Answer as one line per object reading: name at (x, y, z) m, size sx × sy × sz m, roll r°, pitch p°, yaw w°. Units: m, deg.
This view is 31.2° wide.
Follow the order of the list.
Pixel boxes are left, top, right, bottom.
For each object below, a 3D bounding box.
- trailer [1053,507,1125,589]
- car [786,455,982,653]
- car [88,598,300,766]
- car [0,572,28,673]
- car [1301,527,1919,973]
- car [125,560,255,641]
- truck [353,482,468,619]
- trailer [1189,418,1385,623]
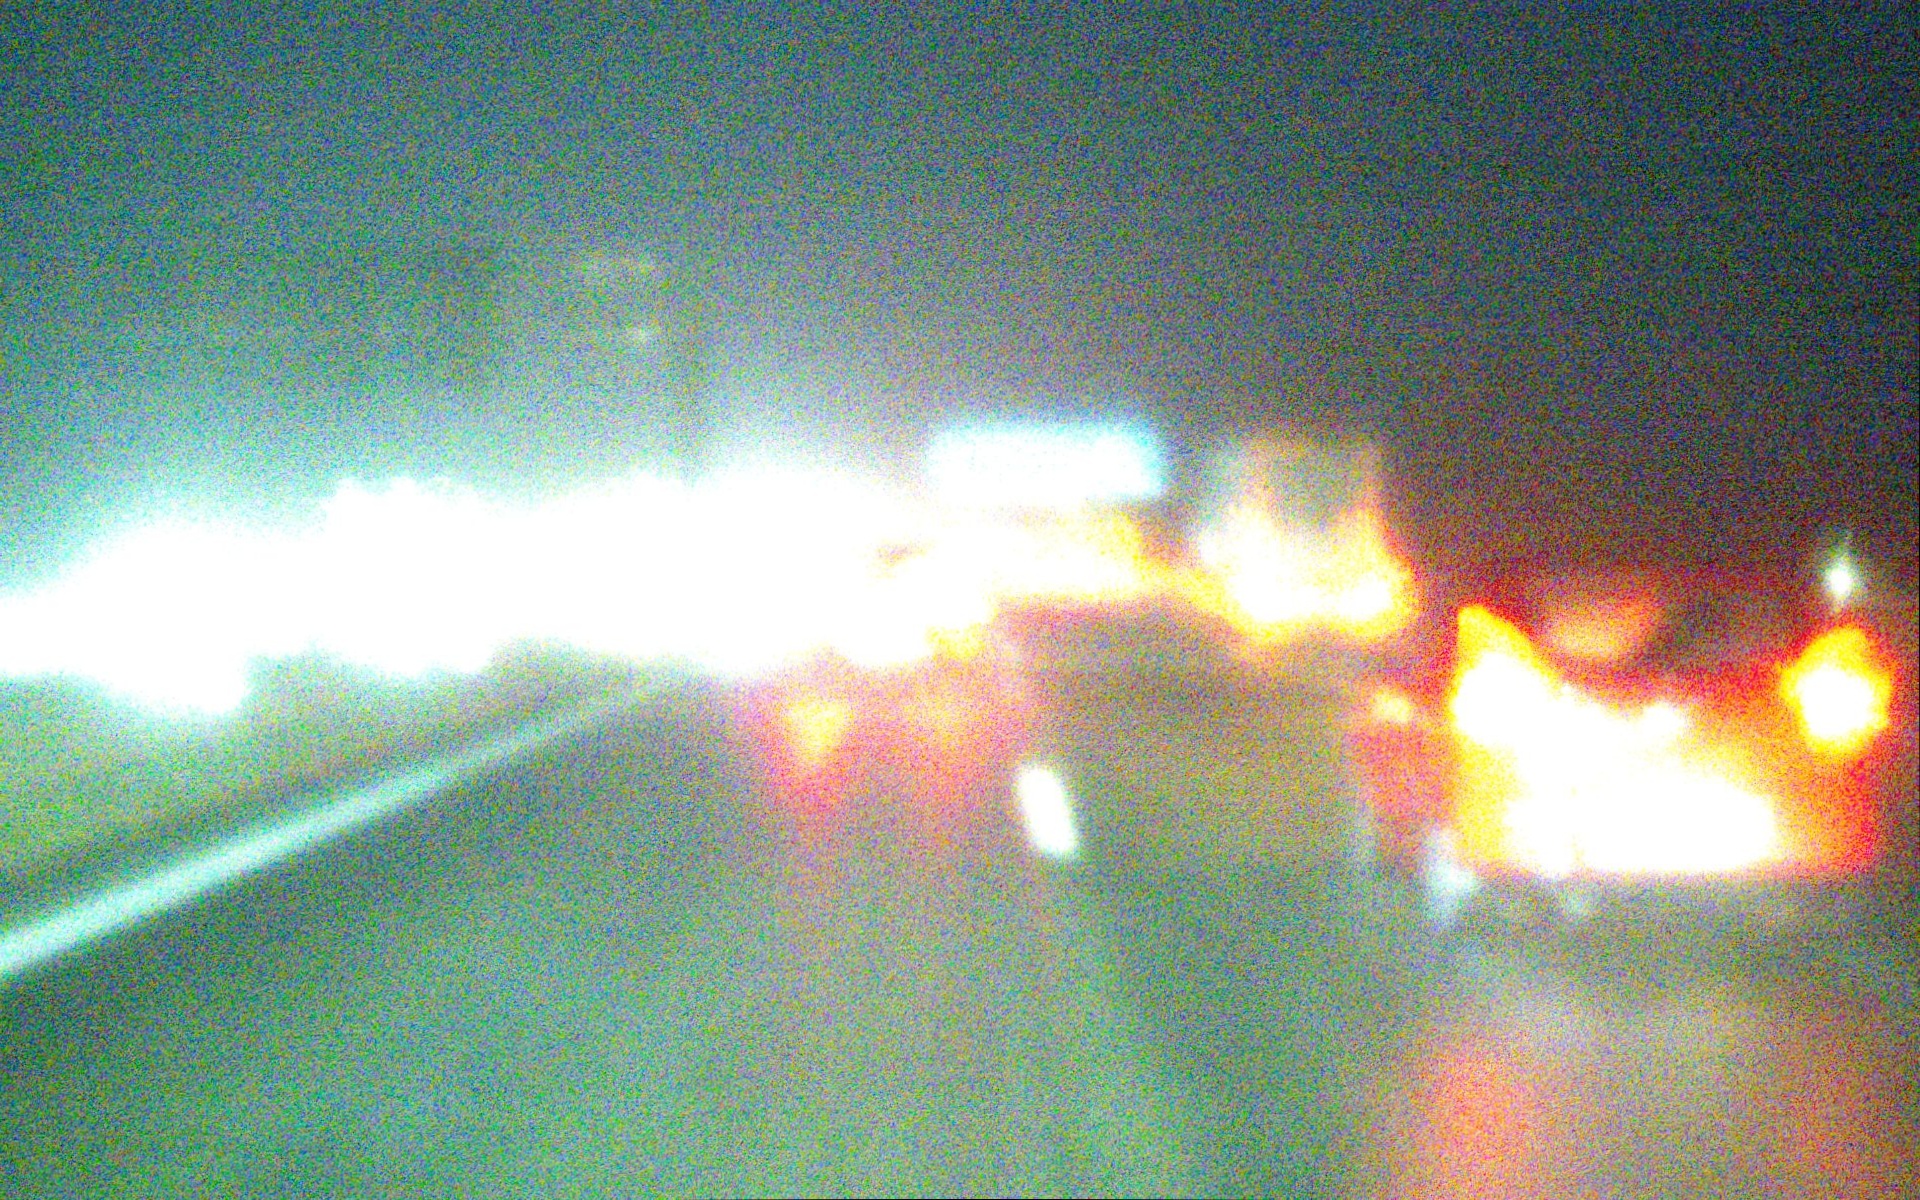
trailer at (7.136, -2.826, 192.048) m, size 3.041 × 4.095 × 13.828 m, roll -2°, pitch 0°, yaw -1°
car at (-0.829, -0.531, 37.795) m, size 1.993 × 2.007 × 4.001 m, roll 1°, pitch 1°, yaw -1°
car at (-10.619, 1.092, 47.932) m, size 1.993 × 2.006 × 4.295 m, roll 1°, pitch 2°, yaw 0°
car at (-17.668, 0.417, 59.188) m, size 1.993 × 1.767 × 4.960 m, roll -1°, pitch 0°, yaw -2°
car at (2.534, 0.540, 14.413) m, size 1.740 × 1.570 × 4.494 m, roll 0°, pitch 0°, yaw 0°
car at (-17.585, -0.009, 78.736) m, size 1.993 × 1.767 × 4.960 m, roll 1°, pitch 0°, yaw -2°
truck at (-17.443, -1.557, 109.447) m, size 2.690 × 4.207 × 5.735 m, roll 1°, pitch 1°, yaw 0°
trailer at (7.115, -1.623, 76.983) m, size 2.903 × 4.095 × 14.487 m, roll -2°, pitch 0°, yaw 0°
